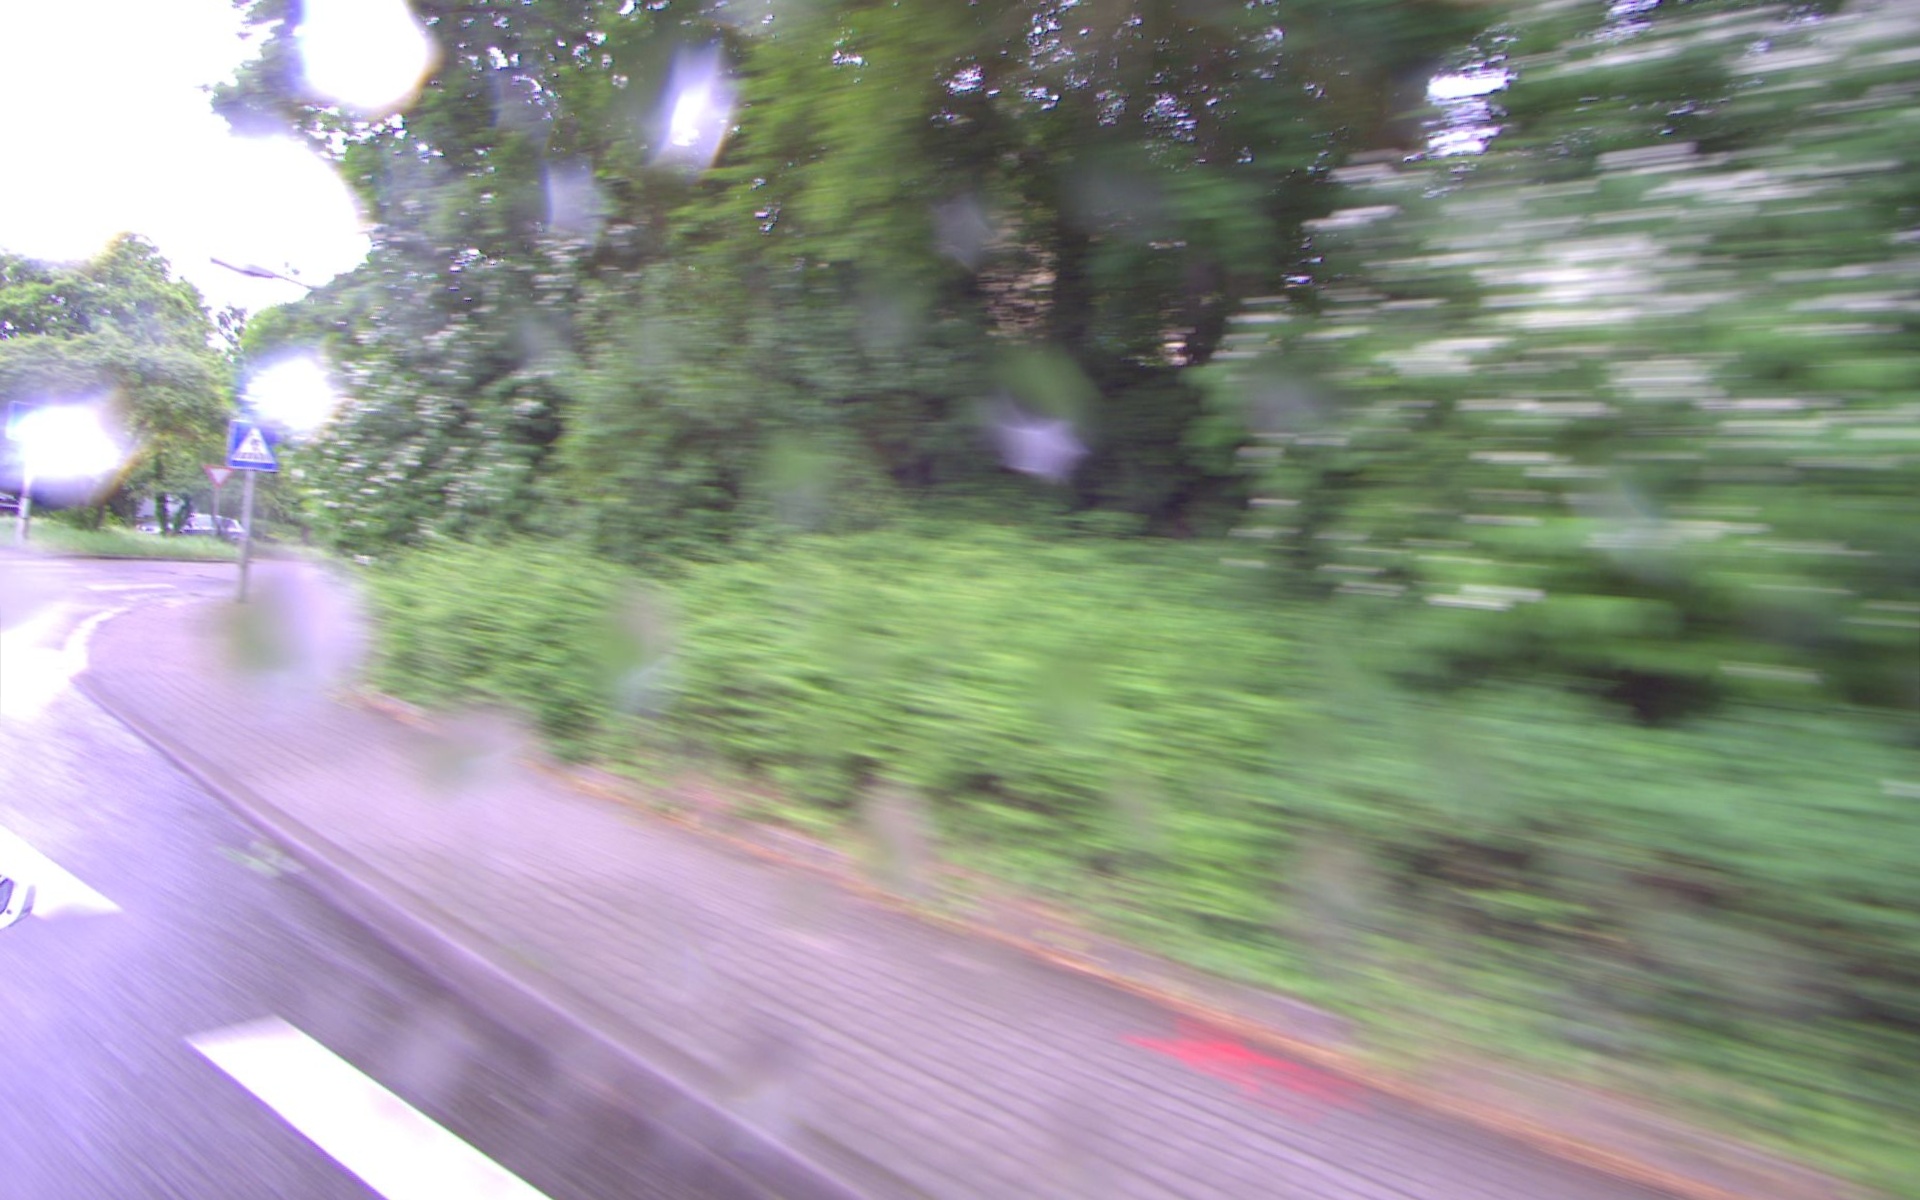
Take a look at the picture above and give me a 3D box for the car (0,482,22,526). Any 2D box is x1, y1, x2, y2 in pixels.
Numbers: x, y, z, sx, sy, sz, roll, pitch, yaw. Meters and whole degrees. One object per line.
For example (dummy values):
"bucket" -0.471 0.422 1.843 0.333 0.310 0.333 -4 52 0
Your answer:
"car" -36.461 -3.690 35.807 1.867 1.527 3.998 5 -1 24

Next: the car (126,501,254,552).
"car" -33.603 -3.181 44.044 1.716 1.622 4.031 7 0 21
